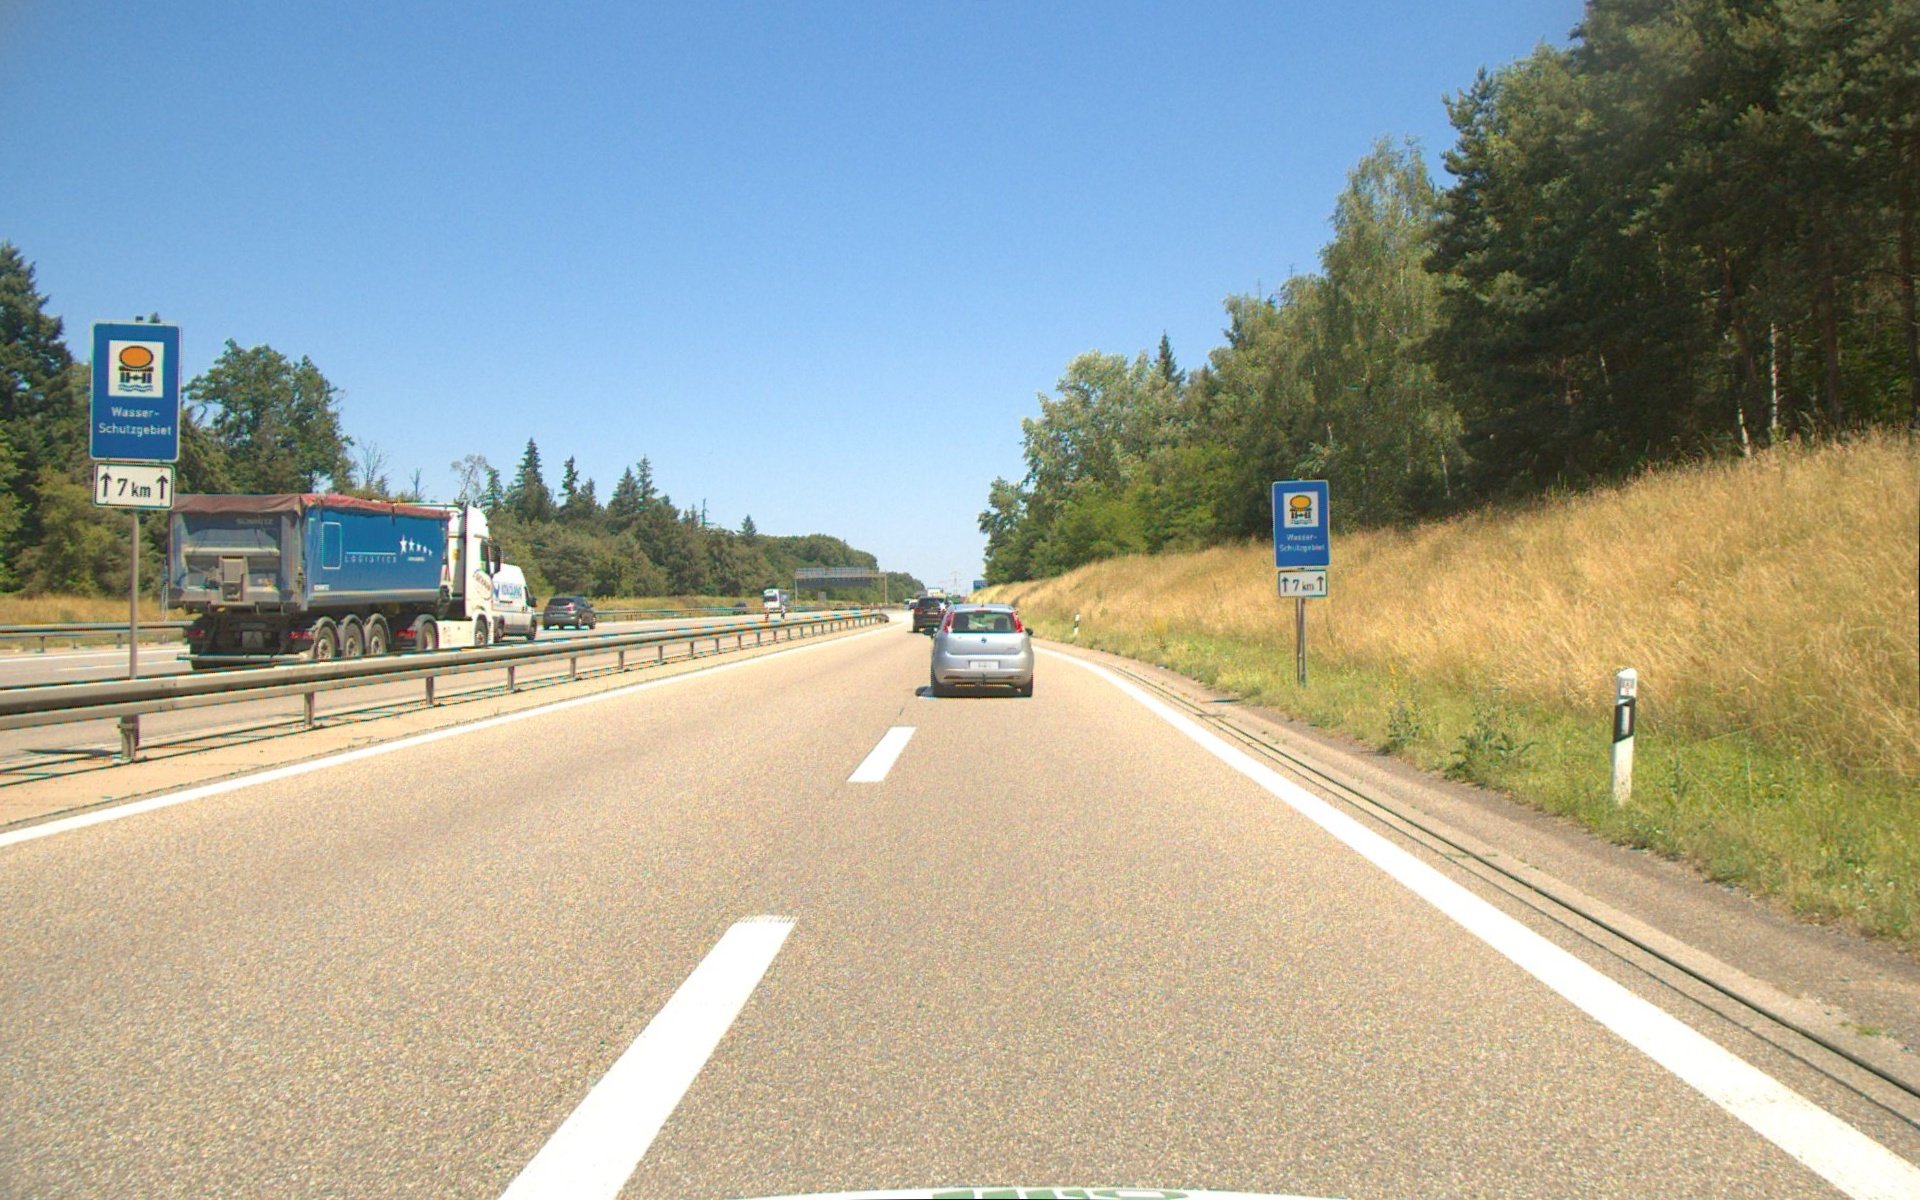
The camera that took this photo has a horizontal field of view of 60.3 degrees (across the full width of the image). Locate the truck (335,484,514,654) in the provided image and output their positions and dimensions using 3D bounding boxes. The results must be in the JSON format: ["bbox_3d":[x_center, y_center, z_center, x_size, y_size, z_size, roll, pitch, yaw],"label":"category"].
[{"bbox_3d":[-12.826,-0.719,39.980,2.699,3.874,4.623,0,0,2],"label":"truck"}]

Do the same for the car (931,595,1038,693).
[{"bbox_3d":[0.435,0.687,27.688,1.671,1.507,3.398,-1,0,2],"label":"car"}]

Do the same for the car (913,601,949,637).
[{"bbox_3d":[-1.440,0.940,80.660,1.672,1.706,3.396,0,-1,-2],"label":"car"}]

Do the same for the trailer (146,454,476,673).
[{"bbox_3d":[-12.988,-0.681,34.352,2.713,3.874,9.887,0,0,2],"label":"trailer"}]

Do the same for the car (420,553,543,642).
[{"bbox_3d":[-16.744,-0.016,58.317,2.579,2.947,6.472,0,-1,-1],"label":"car"}]

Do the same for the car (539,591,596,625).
[{"bbox_3d":[-19.482,0.415,82.258,1.953,1.646,3.999,0,-1,-1],"label":"car"}]
